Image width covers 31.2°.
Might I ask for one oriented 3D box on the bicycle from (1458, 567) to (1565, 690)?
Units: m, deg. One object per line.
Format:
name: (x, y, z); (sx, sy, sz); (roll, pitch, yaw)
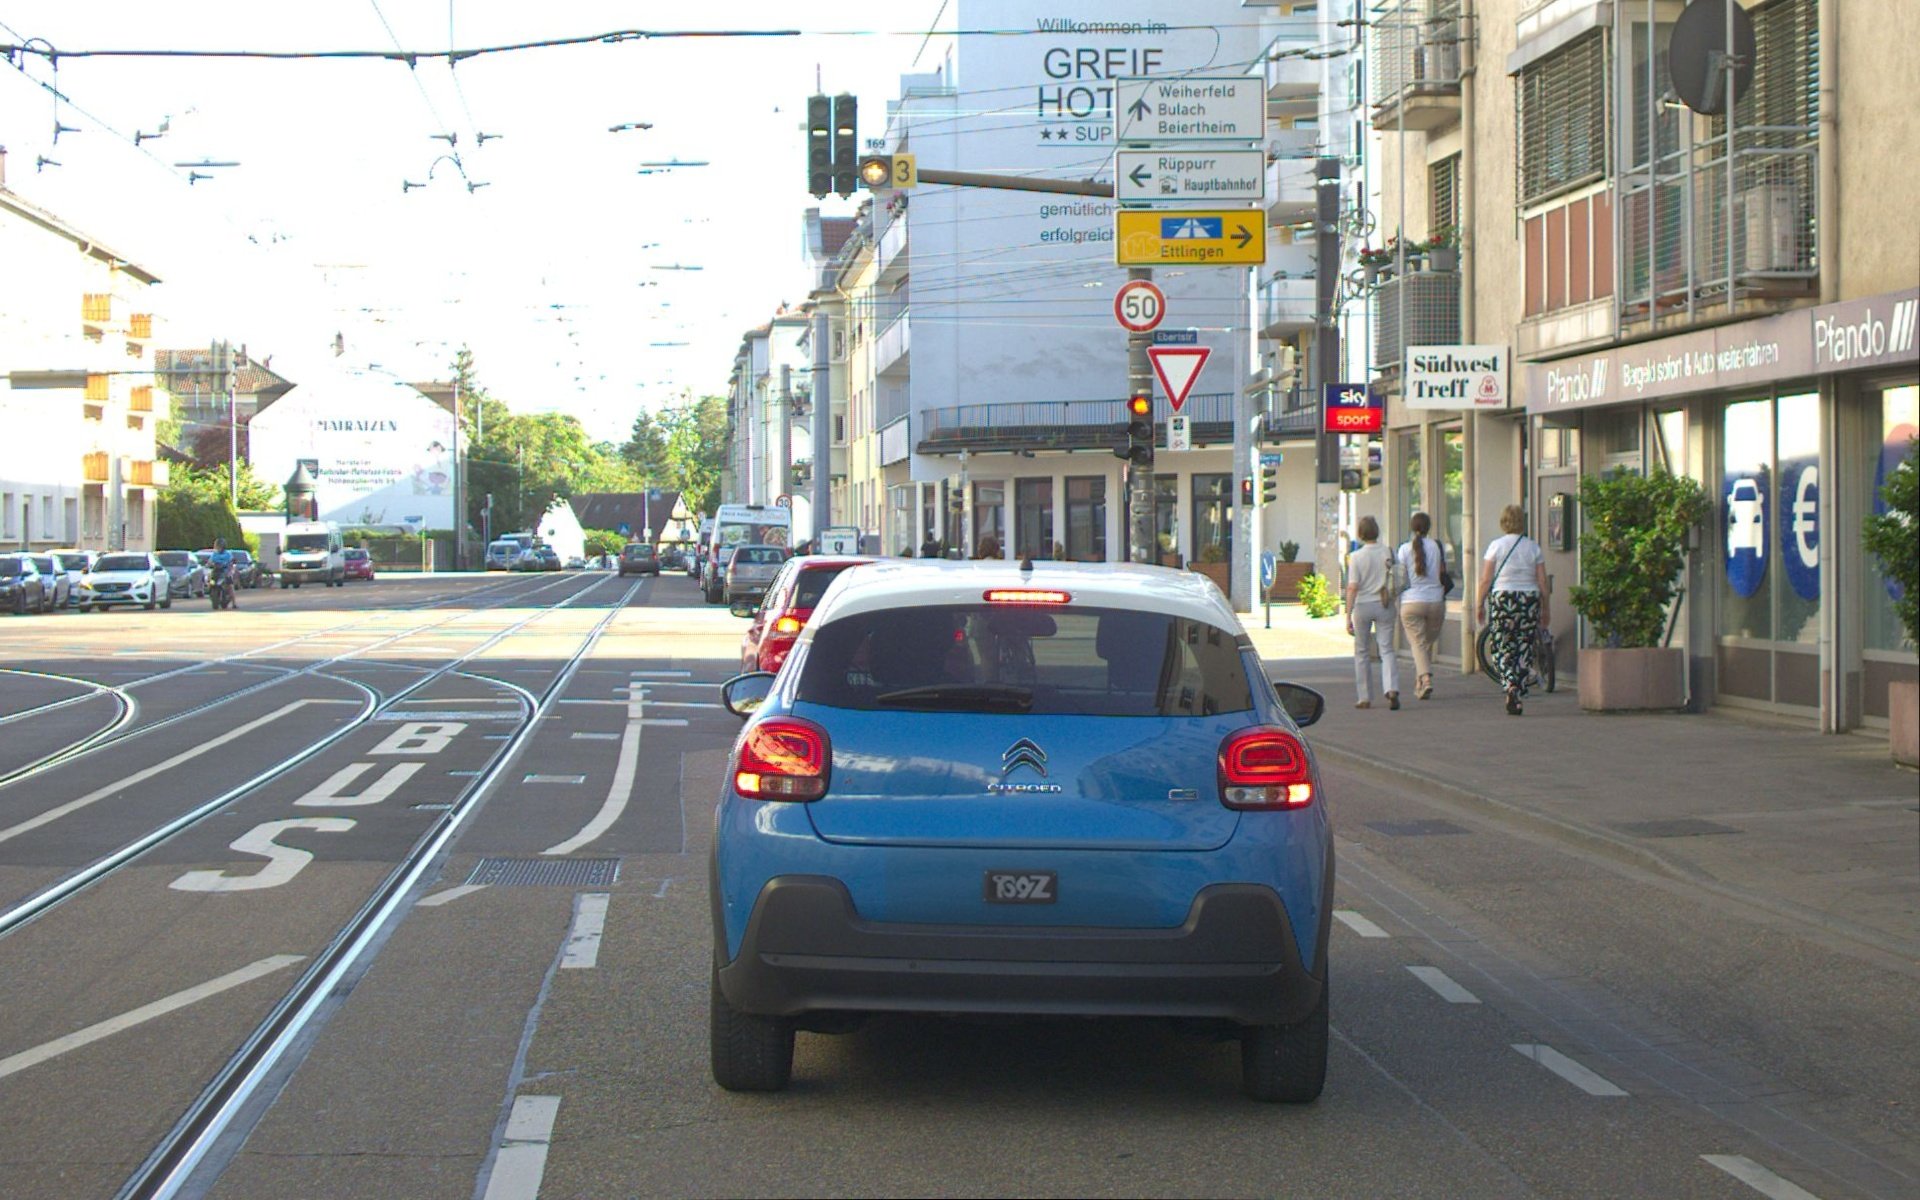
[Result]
bicycle: (4.983, 0.242, 31.131); (0.530, 1.068, 1.811); (0, 1, -5)

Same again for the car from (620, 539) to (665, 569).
car: (-13.897, -2.018, 150.384); (1.754, 1.255, 3.833); (0, 1, -8)

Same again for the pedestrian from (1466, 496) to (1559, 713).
pedestrian: (4.339, 0.030, 27.026); (0.541, 1.666, 0.650); (-2, 1, -3)

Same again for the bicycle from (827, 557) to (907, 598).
bicycle: (-2.219, -0.536, 82.231); (1.873, 0.953, 0.702); (0, 1, 0)

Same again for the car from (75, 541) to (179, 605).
car: (-20.819, -0.696, 86.033); (1.849, 1.568, 4.402); (0, 1, -5)

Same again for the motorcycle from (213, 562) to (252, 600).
motorcycle: (-17.396, -0.458, 82.208); (0.615, 0.861, 1.671); (0, 1, -1)

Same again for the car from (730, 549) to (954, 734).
car: (-0.970, 0.295, 28.720); (1.738, 1.415, 4.000); (0, 1, -2)

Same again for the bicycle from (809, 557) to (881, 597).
bicycle: (-2.782, -0.556, 83.581); (1.720, 0.953, 0.702); (0, 1, 0)

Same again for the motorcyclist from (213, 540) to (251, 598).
motorcyclist: (-17.383, -0.742, 82.049); (0.719, 1.373, 0.911); (0, 1, -1)

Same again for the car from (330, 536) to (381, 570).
car: (-27.936, -2.179, 159.058); (2.021, 1.520, 4.001); (0, 1, -5)

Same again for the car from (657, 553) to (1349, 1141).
car: (0.173, 0.603, 10.800); (1.744, 1.457, 4.000); (1, 1, 2)

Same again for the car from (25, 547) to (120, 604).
car: (-24.242, -0.690, 93.994); (1.910, 1.492, 4.001); (0, 1, -6)

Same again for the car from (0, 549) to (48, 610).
car: (-23.460, -0.501, 83.656); (1.910, 1.428, 4.001); (0, 1, -7)

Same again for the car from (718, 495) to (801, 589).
car: (-5.134, -1.472, 87.562); (1.993, 2.317, 4.001); (1, 1, -5)

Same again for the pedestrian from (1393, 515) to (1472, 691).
pedestrian: (4.159, 0.022, 30.301); (0.541, 1.502, 0.611); (-2, 3, -3)

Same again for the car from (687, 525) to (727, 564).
car: (-10.770, -2.351, 146.524); (1.688, 1.612, 4.001); (1, 1, -4)

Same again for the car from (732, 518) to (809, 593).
car: (-4.568, -1.061, 82.660); (1.732, 1.744, 3.214); (1, 1, -5)

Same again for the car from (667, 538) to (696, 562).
car: (-21.014, -3.816, 259.382); (1.993, 1.787, 4.000); (0, 1, -2)

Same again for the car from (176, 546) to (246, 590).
car: (-26.310, -1.139, 120.860); (1.910, 1.492, 4.001); (0, 1, -6)

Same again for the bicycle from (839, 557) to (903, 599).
bicycle: (-2.098, -0.521, 81.173); (1.504, 0.953, 0.702); (0, 1, 0)

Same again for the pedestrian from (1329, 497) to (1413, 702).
pedestrian: (3.431, -0.016, 28.737); (0.541, 1.666, 0.624); (-2, 3, -3)

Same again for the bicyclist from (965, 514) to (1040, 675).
bicyclist: (0.434, -0.062, 35.450); (0.726, 1.640, 0.790); (0, 1, -1)

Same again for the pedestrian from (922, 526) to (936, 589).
pedestrian: (-0.772, -1.060, 85.263); (0.284, 1.550, 0.305); (-1, 1, -10)

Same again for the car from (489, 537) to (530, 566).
car: (-24.122, -2.624, 184.233); (2.021, 1.520, 4.001); (0, 1, -5)

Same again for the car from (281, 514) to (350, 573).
car: (-25.126, -2.208, 134.127); (2.206, 2.243, 4.678); (0, 1, -5)
